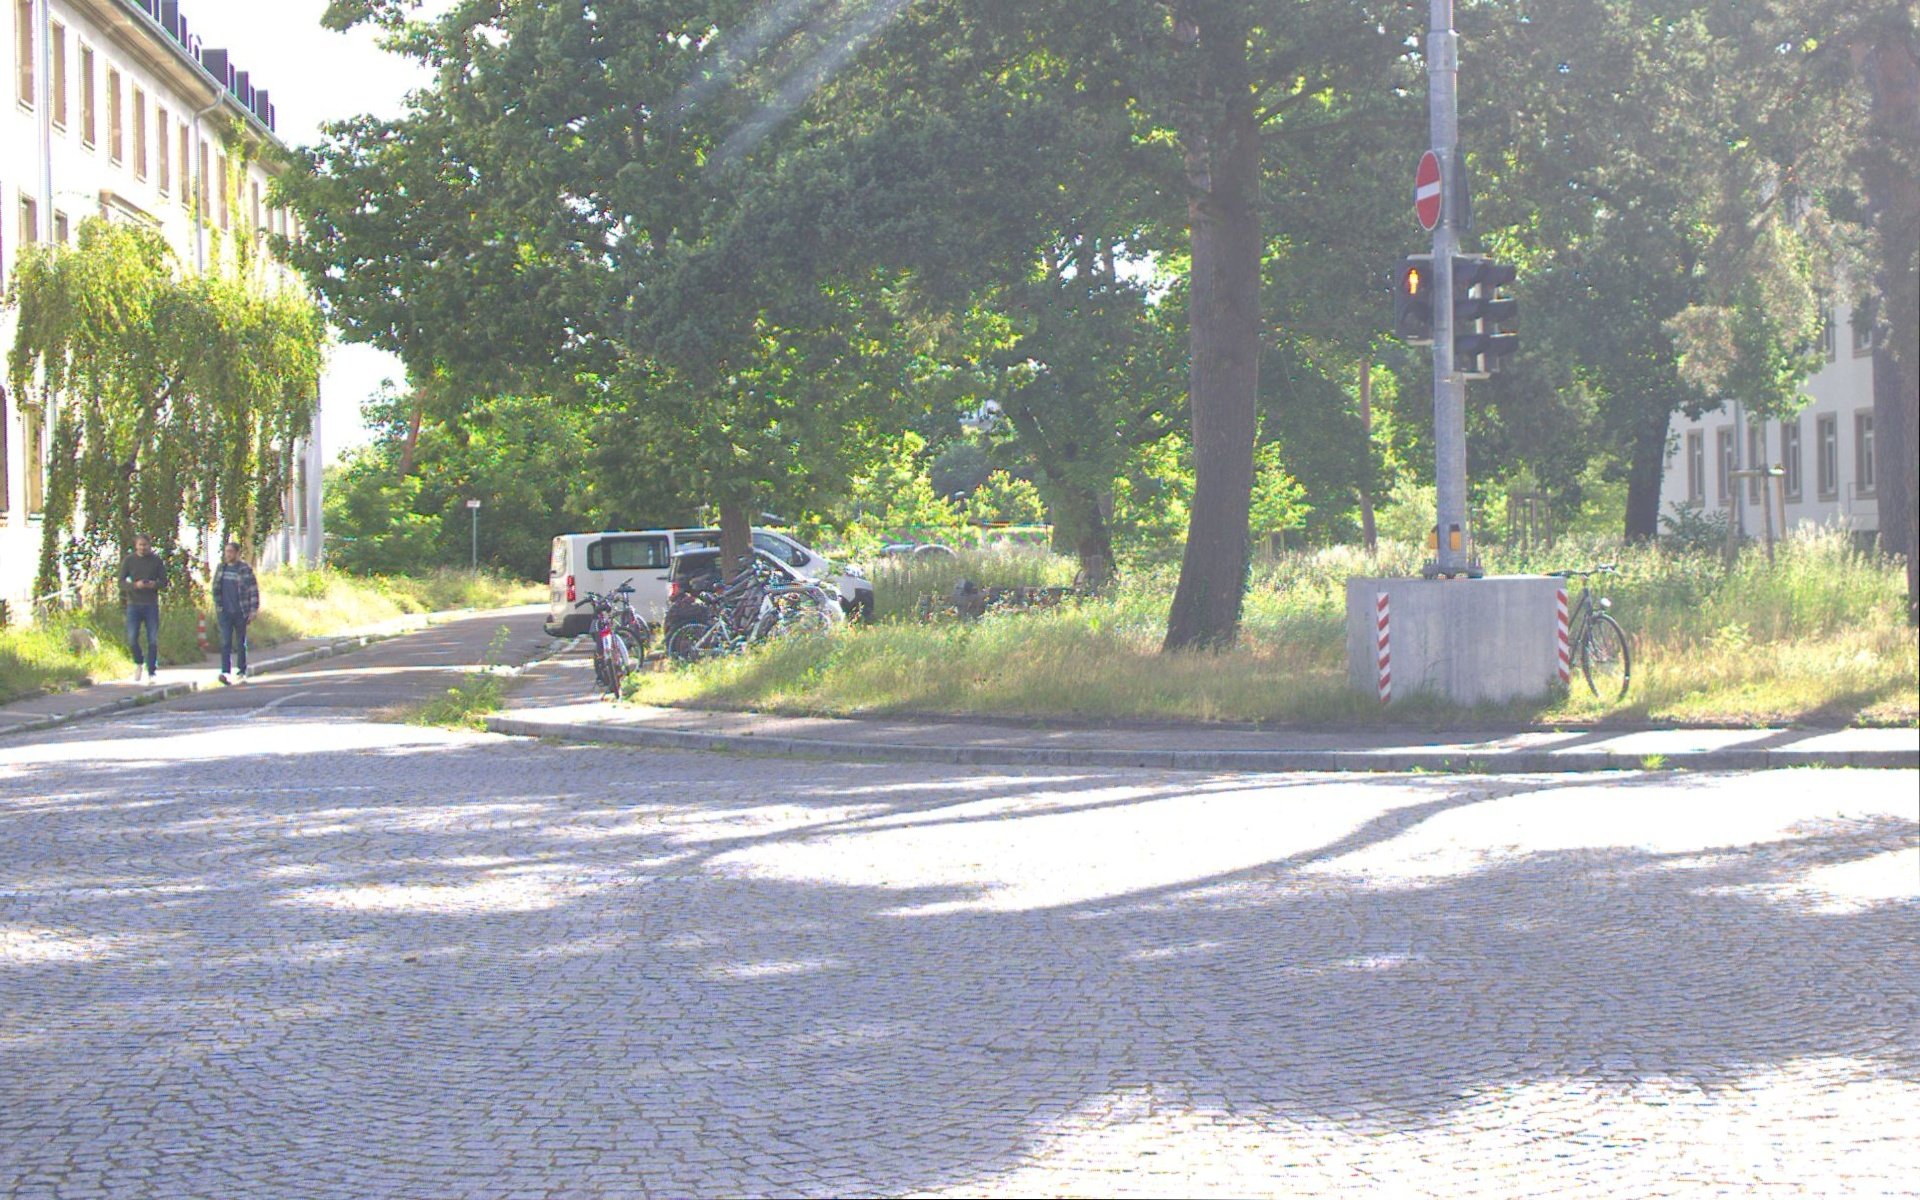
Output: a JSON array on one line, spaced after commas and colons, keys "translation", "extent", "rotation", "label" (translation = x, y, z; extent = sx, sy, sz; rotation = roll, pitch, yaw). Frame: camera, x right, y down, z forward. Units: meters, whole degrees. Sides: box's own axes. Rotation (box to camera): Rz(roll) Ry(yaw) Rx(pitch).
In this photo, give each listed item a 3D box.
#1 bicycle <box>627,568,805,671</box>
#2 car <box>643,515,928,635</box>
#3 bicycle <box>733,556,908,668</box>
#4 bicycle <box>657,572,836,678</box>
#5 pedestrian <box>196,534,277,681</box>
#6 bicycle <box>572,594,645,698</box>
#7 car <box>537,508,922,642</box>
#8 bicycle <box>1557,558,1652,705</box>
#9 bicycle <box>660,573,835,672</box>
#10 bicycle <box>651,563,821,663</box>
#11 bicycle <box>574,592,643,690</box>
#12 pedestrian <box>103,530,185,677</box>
[{"translation": [-2.814, 0.213, 39.687], "extent": [1.941, 1.125, 0.648], "rotation": [-2, 1, -30], "label": "bicycle"}, {"translation": [-2.634, -0.390, 51.442], "extent": [3.986, 1.678, 1.848], "rotation": [-1, 1, -11], "label": "car"}, {"translation": [-1.593, 0.131, 39.245], "extent": [1.940, 1.231, 0.485], "rotation": [-1, 1, -7], "label": "bicycle"}, {"translation": [-2.393, 0.272, 38.497], "extent": [1.940, 1.125, 0.750], "rotation": [-1, 1, -7], "label": "bicycle"}, {"translation": [-9.055, 0.090, 43.026], "extent": [0.767, 1.811, 0.682], "rotation": [-1, 1, 7], "label": "pedestrian"}, {"translation": [-3.494, 0.444, 34.148], "extent": [0.695, 0.968, 1.861], "rotation": [-1, 1, -6], "label": "bicycle"}, {"translation": [-3.777, -0.429, 55.731], "extent": [5.929, 2.007, 2.476], "rotation": [-1, 1, -11], "label": "car"}, {"translation": [4.862, 0.228, 25.986], "extent": [0.466, 1.076, 1.174], "rotation": [-1, 0, 0], "label": "bicycle"}, {"translation": [-2.339, 0.242, 37.701], "extent": [1.854, 1.027, 0.750], "rotation": [-1, 1, -7], "label": "bicycle"}, {"translation": [-2.665, 0.146, 40.794], "extent": [1.940, 1.125, 0.648], "rotation": [-1, 1, -9], "label": "bicycle"}, {"translation": [-3.691, 0.419, 36.068], "extent": [0.695, 0.968, 1.861], "rotation": [-1, 1, -6], "label": "bicycle"}, {"translation": [-10.178, 0.041, 42.868], "extent": [0.812, 1.811, 0.555], "rotation": [-1, 1, 7], "label": "pedestrian"}]
